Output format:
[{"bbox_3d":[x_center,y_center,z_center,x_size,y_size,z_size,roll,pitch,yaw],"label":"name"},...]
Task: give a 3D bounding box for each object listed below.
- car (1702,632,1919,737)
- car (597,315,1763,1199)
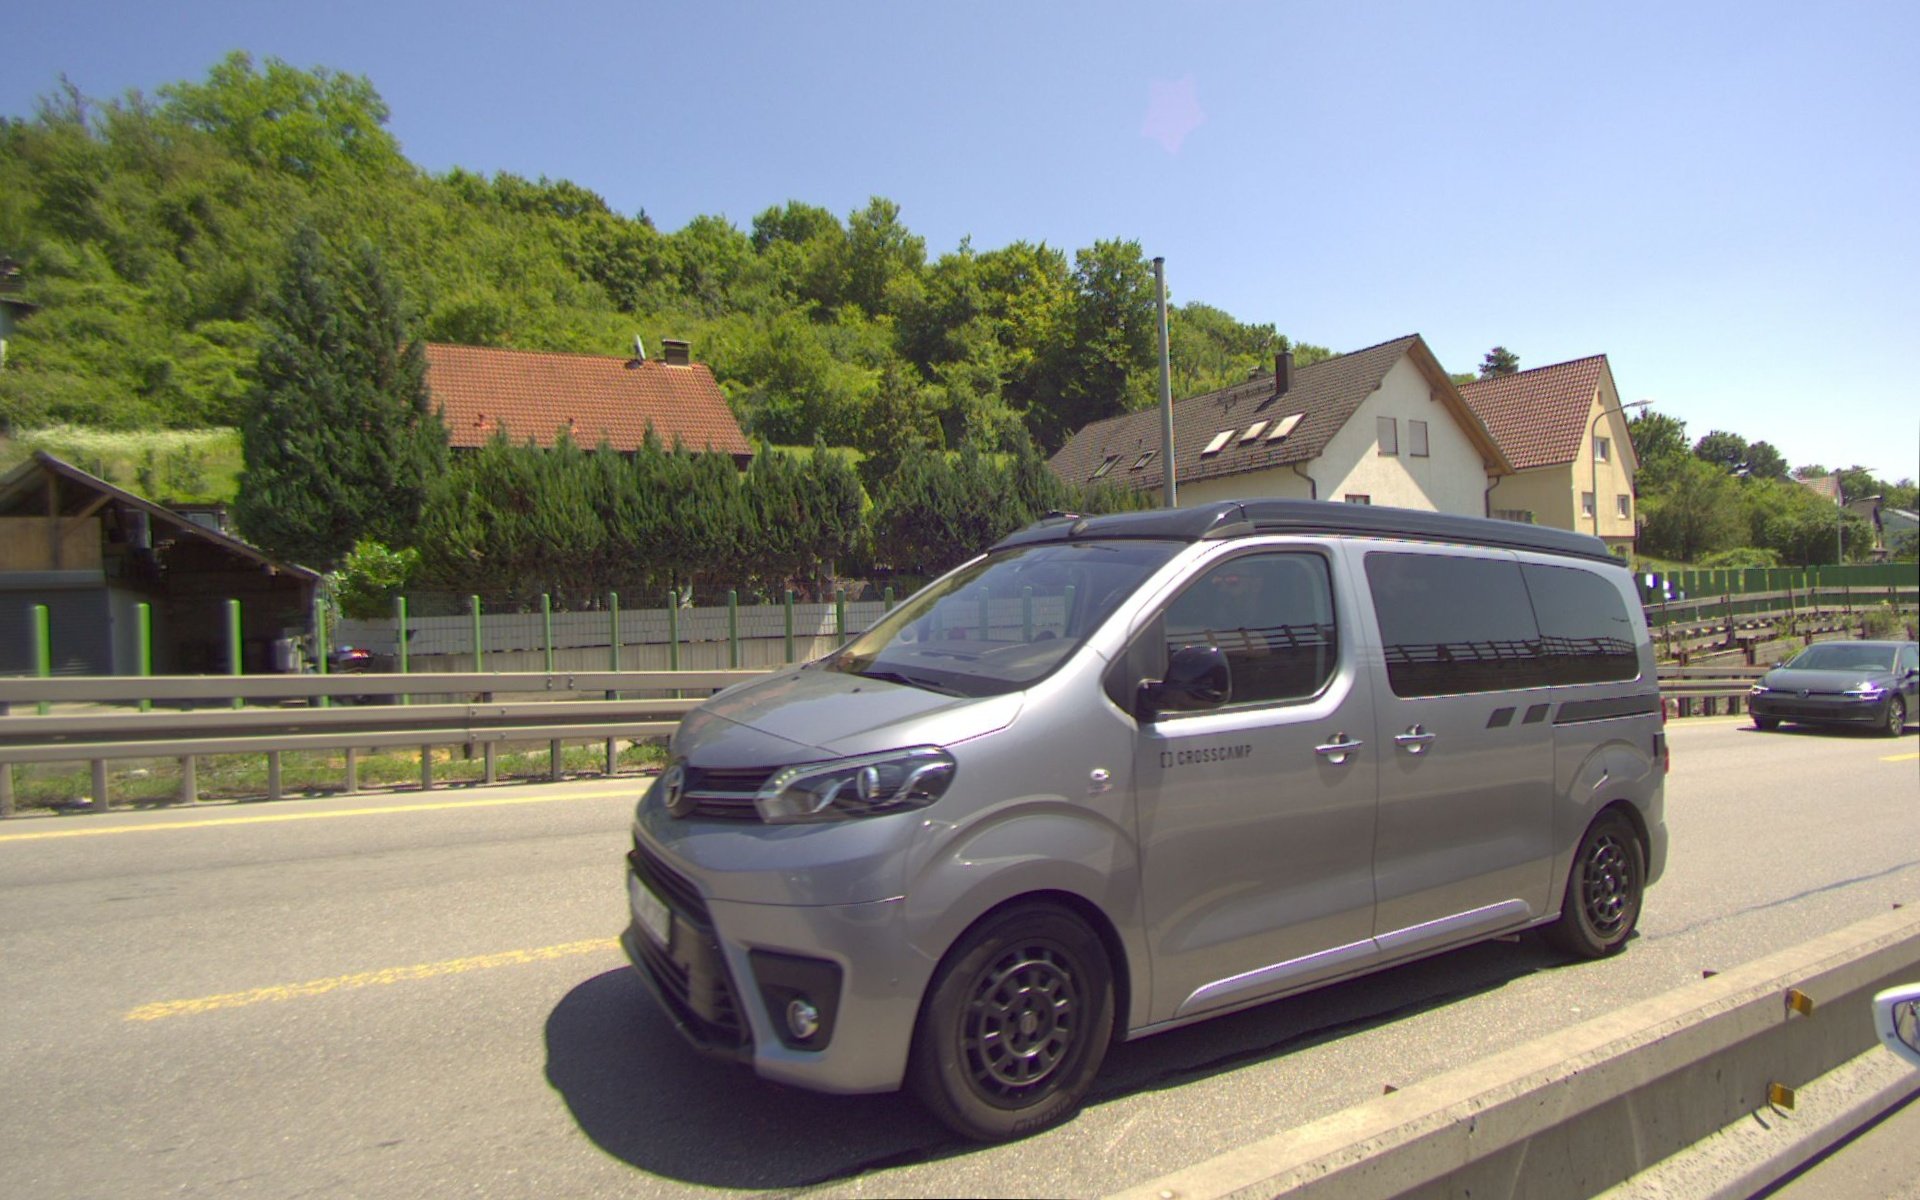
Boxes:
[{"bbox_3d":[14.137,1.295,16.245,4.314,1.461,1.983,2,-2,-31],"label":"car"},{"bbox_3d":[1.185,0.473,4.362,4.911,2.040,1.984,2,-2,-30],"label":"car"}]
